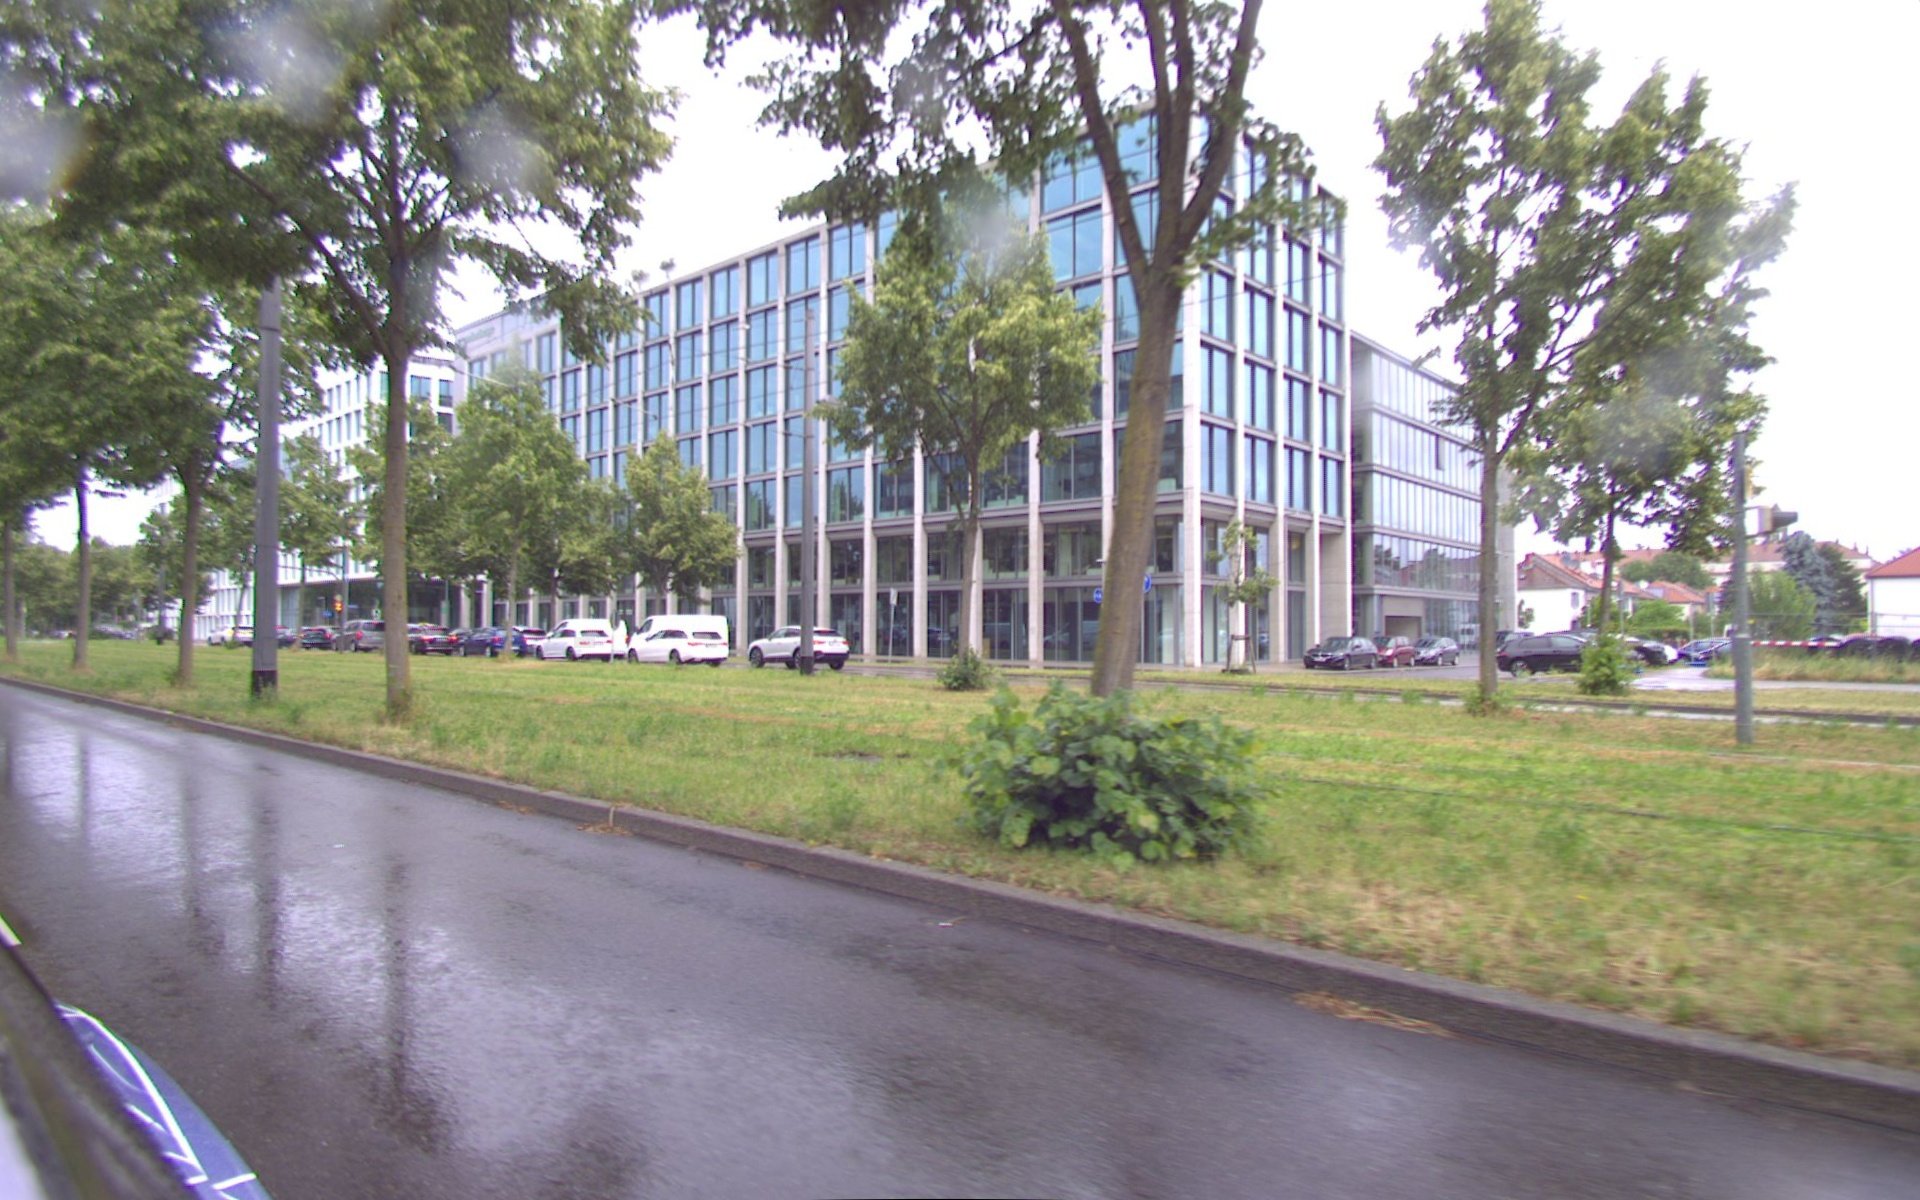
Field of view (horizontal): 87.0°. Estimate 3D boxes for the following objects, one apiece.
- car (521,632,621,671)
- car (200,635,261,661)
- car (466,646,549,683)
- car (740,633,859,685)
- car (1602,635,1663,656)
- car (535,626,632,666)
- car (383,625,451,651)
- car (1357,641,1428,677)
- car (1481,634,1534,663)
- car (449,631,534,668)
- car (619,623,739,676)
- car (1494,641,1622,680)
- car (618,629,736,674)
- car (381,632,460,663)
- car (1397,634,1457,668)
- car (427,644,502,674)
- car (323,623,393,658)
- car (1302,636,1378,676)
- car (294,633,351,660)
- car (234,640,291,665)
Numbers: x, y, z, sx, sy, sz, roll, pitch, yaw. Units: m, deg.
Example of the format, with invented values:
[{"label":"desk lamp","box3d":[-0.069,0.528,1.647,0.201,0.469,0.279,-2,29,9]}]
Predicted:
[{"label":"car","box3d":[-16.284,2.124,42.238,4.572,1.525,1.931,-2,-2,40]},{"label":"car","box3d":[-44.502,2.907,61.719,4.572,1.463,1.931,-2,-2,40]},{"label":"car","box3d":[-22.972,3.285,51.312,4.626,1.759,1.932,-4,-4,38]},{"label":"car","box3d":[-5.912,2.110,36.946,4.576,1.762,1.929,-2,-2,43]},{"label":"car","box3d":[57.628,3.927,86.758,4.228,1.621,1.723,-4,-4,36]},{"label":"car","box3d":[-17.748,2.178,47.592,5.022,1.664,1.932,-4,-4,38]},{"label":"car","box3d":[-31.946,2.247,59.504,4.265,1.396,1.932,-4,-4,38]},{"label":"car","box3d":[20.951,2.840,48.959,1.744,1.621,4.101,-5,-4,43]},{"label":"car","box3d":[33.428,2.942,61.765,1.744,1.621,4.175,-5,-4,43]},{"label":"car","box3d":[-21.505,2.276,46.429,3.956,1.506,1.932,-4,-4,38]},{"label":"car","box3d":[-11.836,2.106,42.406,5.369,2.022,2.244,-5,-4,41]},{"label":"car","box3d":[20.942,2.143,35.488,3.654,1.249,1.486,-4,-4,38]},{"label":"car","box3d":[-10.392,1.900,36.944,4.831,1.472,1.929,-5,-4,43]},{"label":"car","box3d":[-27.336,2.395,51.197,4.599,1.396,1.931,-5,-4,39]},{"label":"car","box3d":[23.952,2.605,51.862,1.597,1.621,3.562,-5,-5,44]},{"label":"car","box3d":[-27.014,3.216,55.135,4.618,1.458,1.841,-4,-4,38]},{"label":"car","box3d":[-33.633,2.258,56.477,4.538,1.863,1.931,-3,-3,39]},{"label":"car","box3d":[16.625,2.424,44.199,1.744,1.621,3.747,-5,-4,43]},{"label":"car","box3d":[-43.032,3.118,68.295,4.266,1.707,1.932,-1,-2,38]},{"label":"car","box3d":[-46.007,3.481,66.745,4.459,1.571,1.931,-4,-4,39]}]
